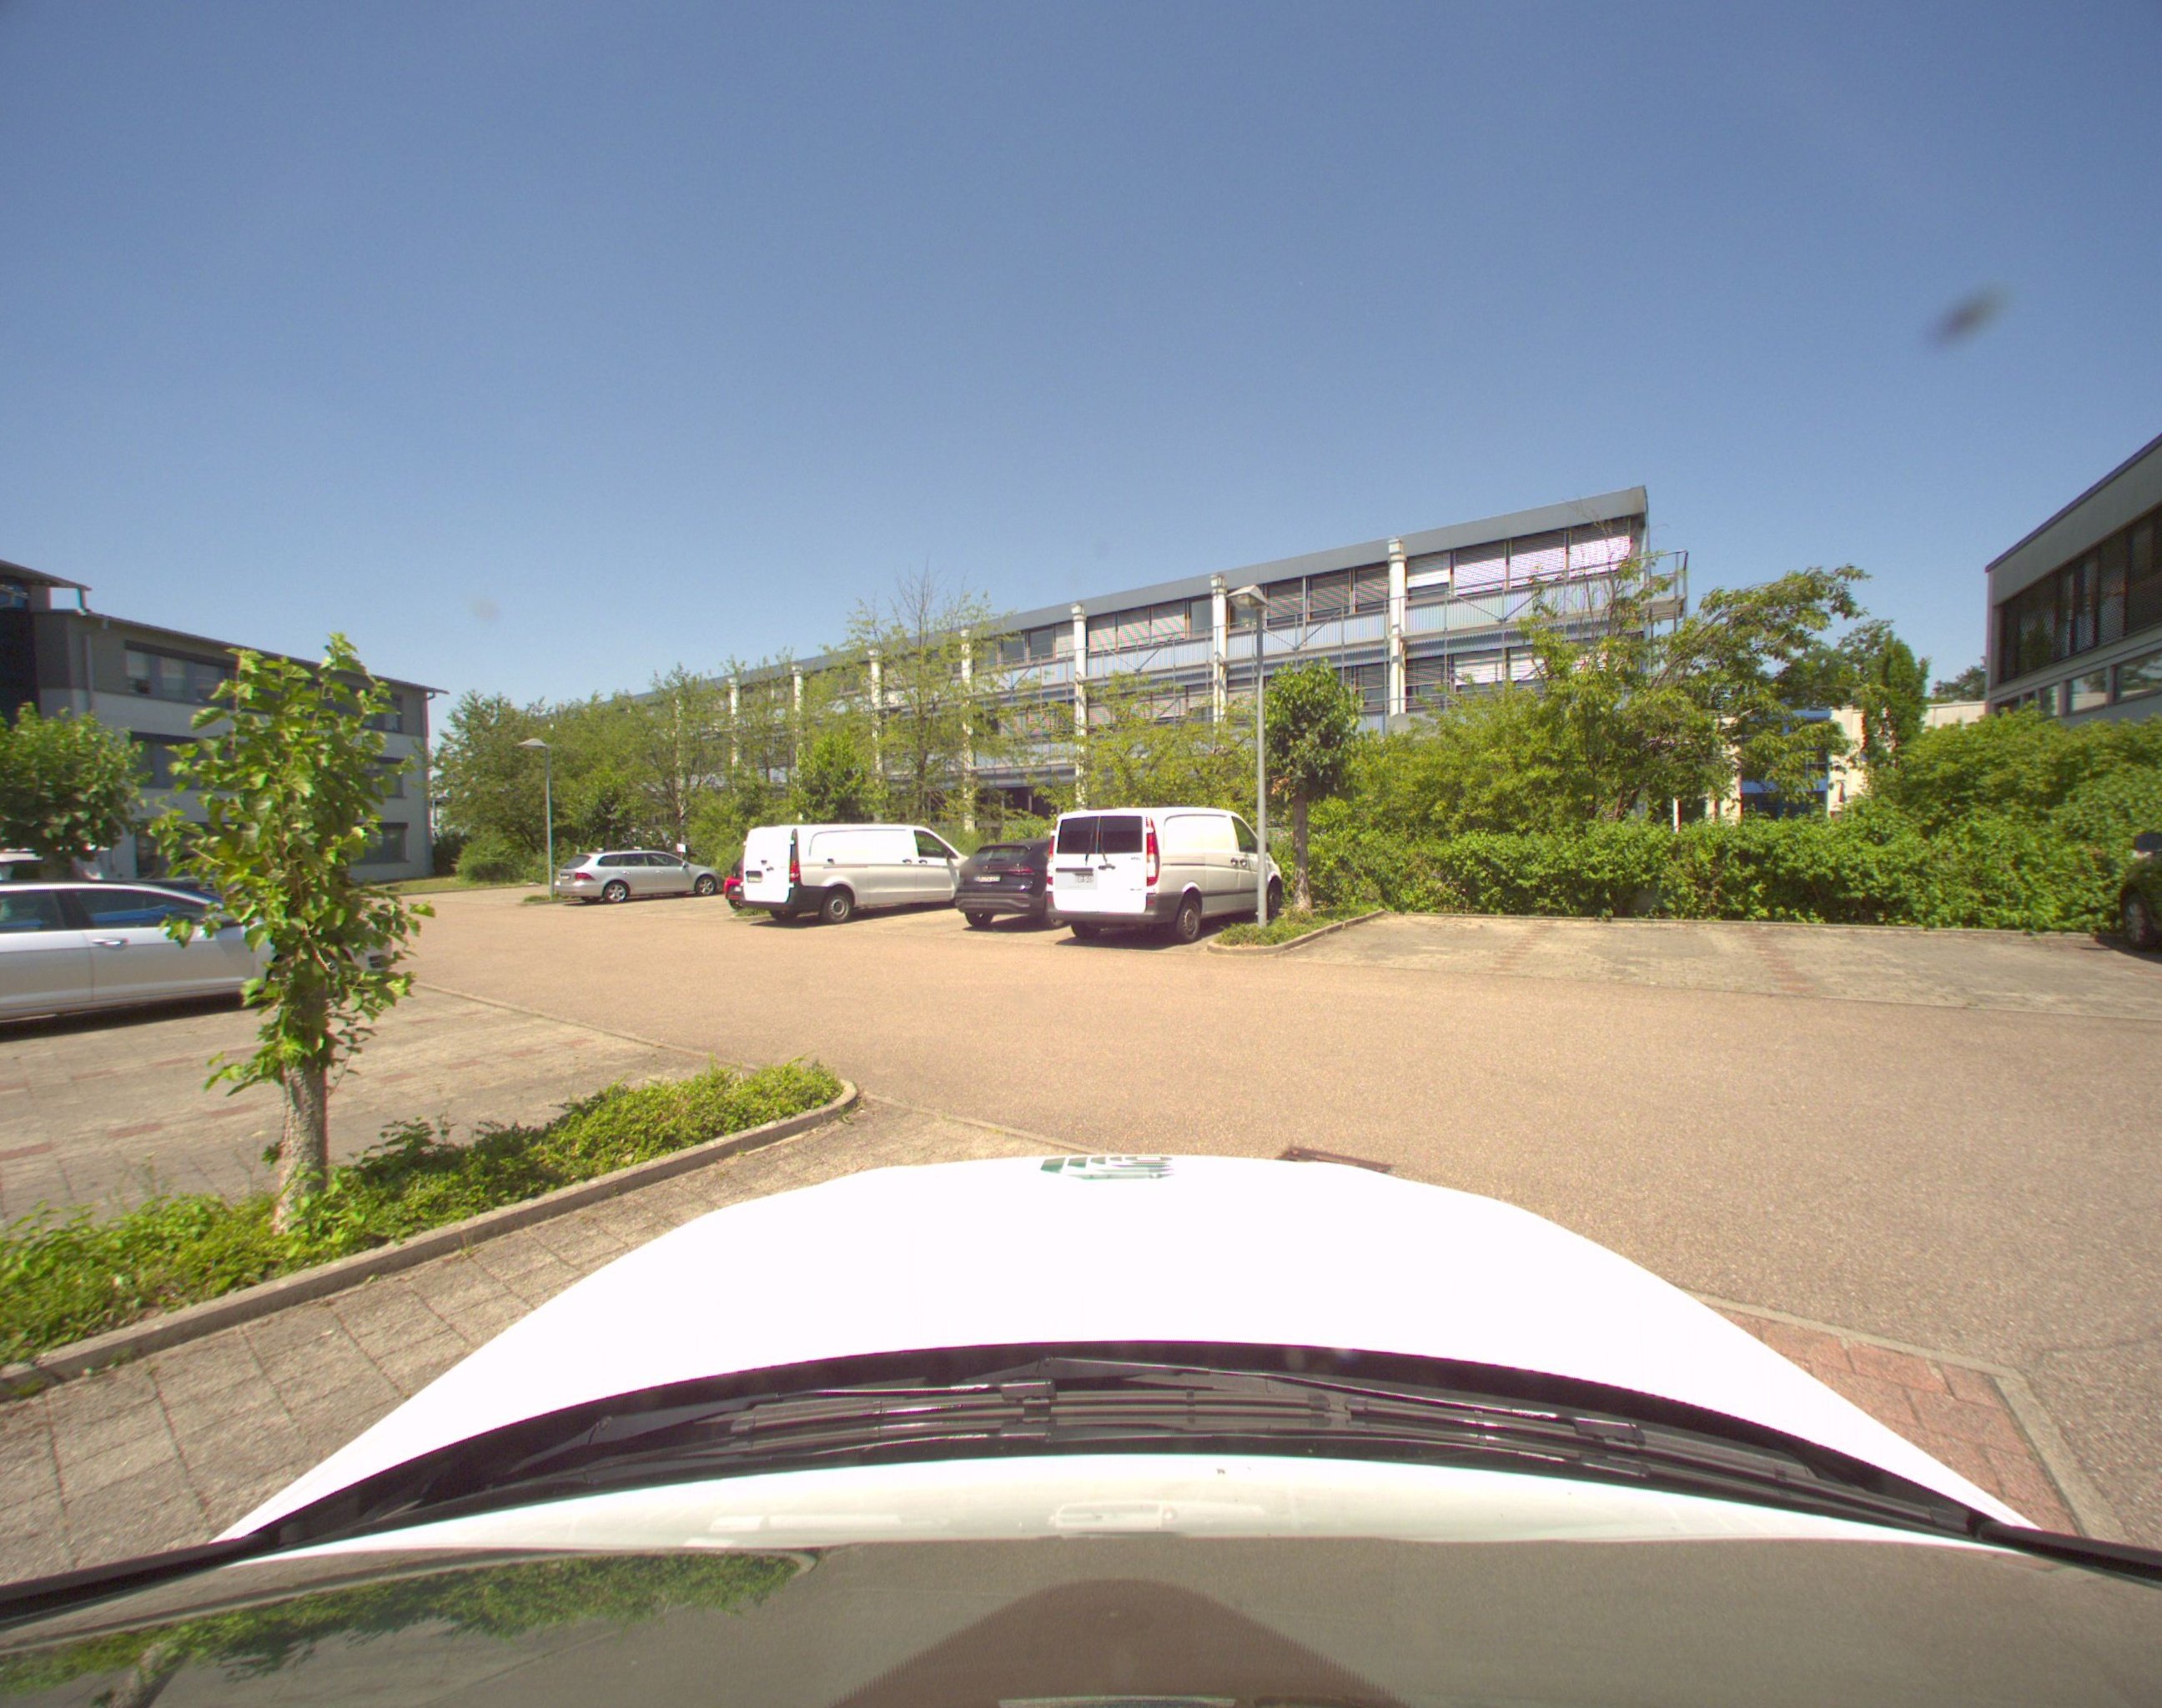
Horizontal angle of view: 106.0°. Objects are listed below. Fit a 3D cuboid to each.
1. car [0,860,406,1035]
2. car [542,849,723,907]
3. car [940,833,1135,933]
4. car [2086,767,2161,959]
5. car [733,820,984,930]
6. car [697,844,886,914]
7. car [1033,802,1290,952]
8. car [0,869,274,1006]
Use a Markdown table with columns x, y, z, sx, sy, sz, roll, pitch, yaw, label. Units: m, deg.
| x | y | z | sx | sy | sz | roll | pitch | yaw | label |
| --- | --- | --- | --- | --- | --- | --- | --- | --- | --- |
| -10.202 | 0.891 | 8.476 | 1.839 | 1.472 | 4.513 | 0 | 2 | 35 | car |
| -12.962 | 0.617 | 23.744 | 1.849 | 1.406 | 4.197 | 0 | 2 | 38 | car |
| -0.615 | 0.420 | 14.816 | 1.738 | 1.476 | 4.025 | -1 | 2 | 26 | car |
| 10.791 | 0.090 | 6.956 | 1.726 | 1.836 | 4.026 | -1 | 2 | 35 | car |
| -4.399 | 0.287 | 16.871 | 1.863 | 1.891 | 4.835 | 0 | 2 | 37 | car |
| -7.017 | 0.543 | 20.067 | 1.765 | 1.441 | 4.026 | -1 | 2 | 38 | car |
| 1.506 | 0.198 | 12.844 | 1.894 | 1.904 | 4.839 | -1 | 2 | 34 | car |
| -13.421 | 1.062 | 10.484 | 1.974 | 1.461 | 4.026 | -1 | 3 | 38 | car |
